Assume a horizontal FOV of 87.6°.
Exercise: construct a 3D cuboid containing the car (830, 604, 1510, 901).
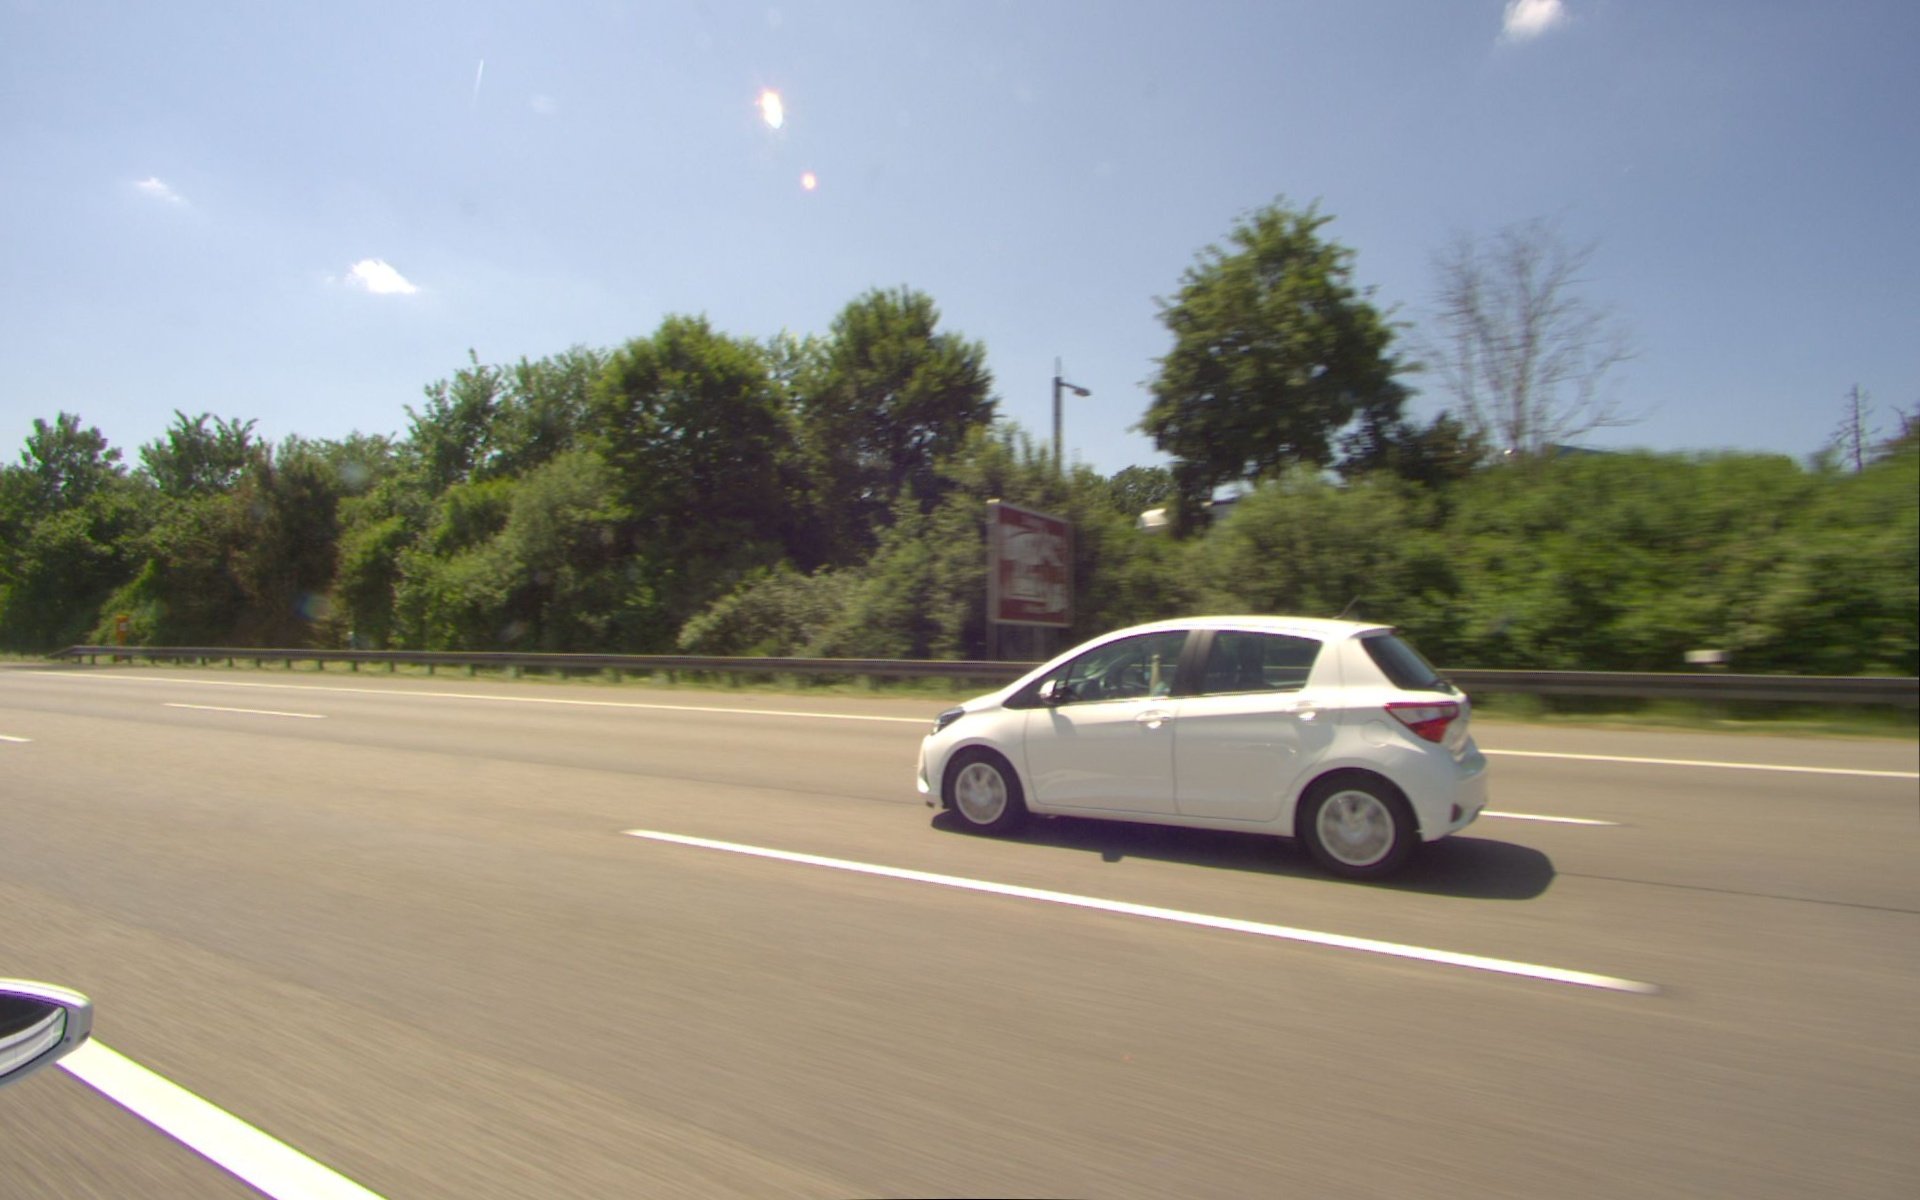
[{"bbox_3d":[1.341,0.861,7.129,4.420,1.538,1.747,-1,-2,32],"label":"car"}]
